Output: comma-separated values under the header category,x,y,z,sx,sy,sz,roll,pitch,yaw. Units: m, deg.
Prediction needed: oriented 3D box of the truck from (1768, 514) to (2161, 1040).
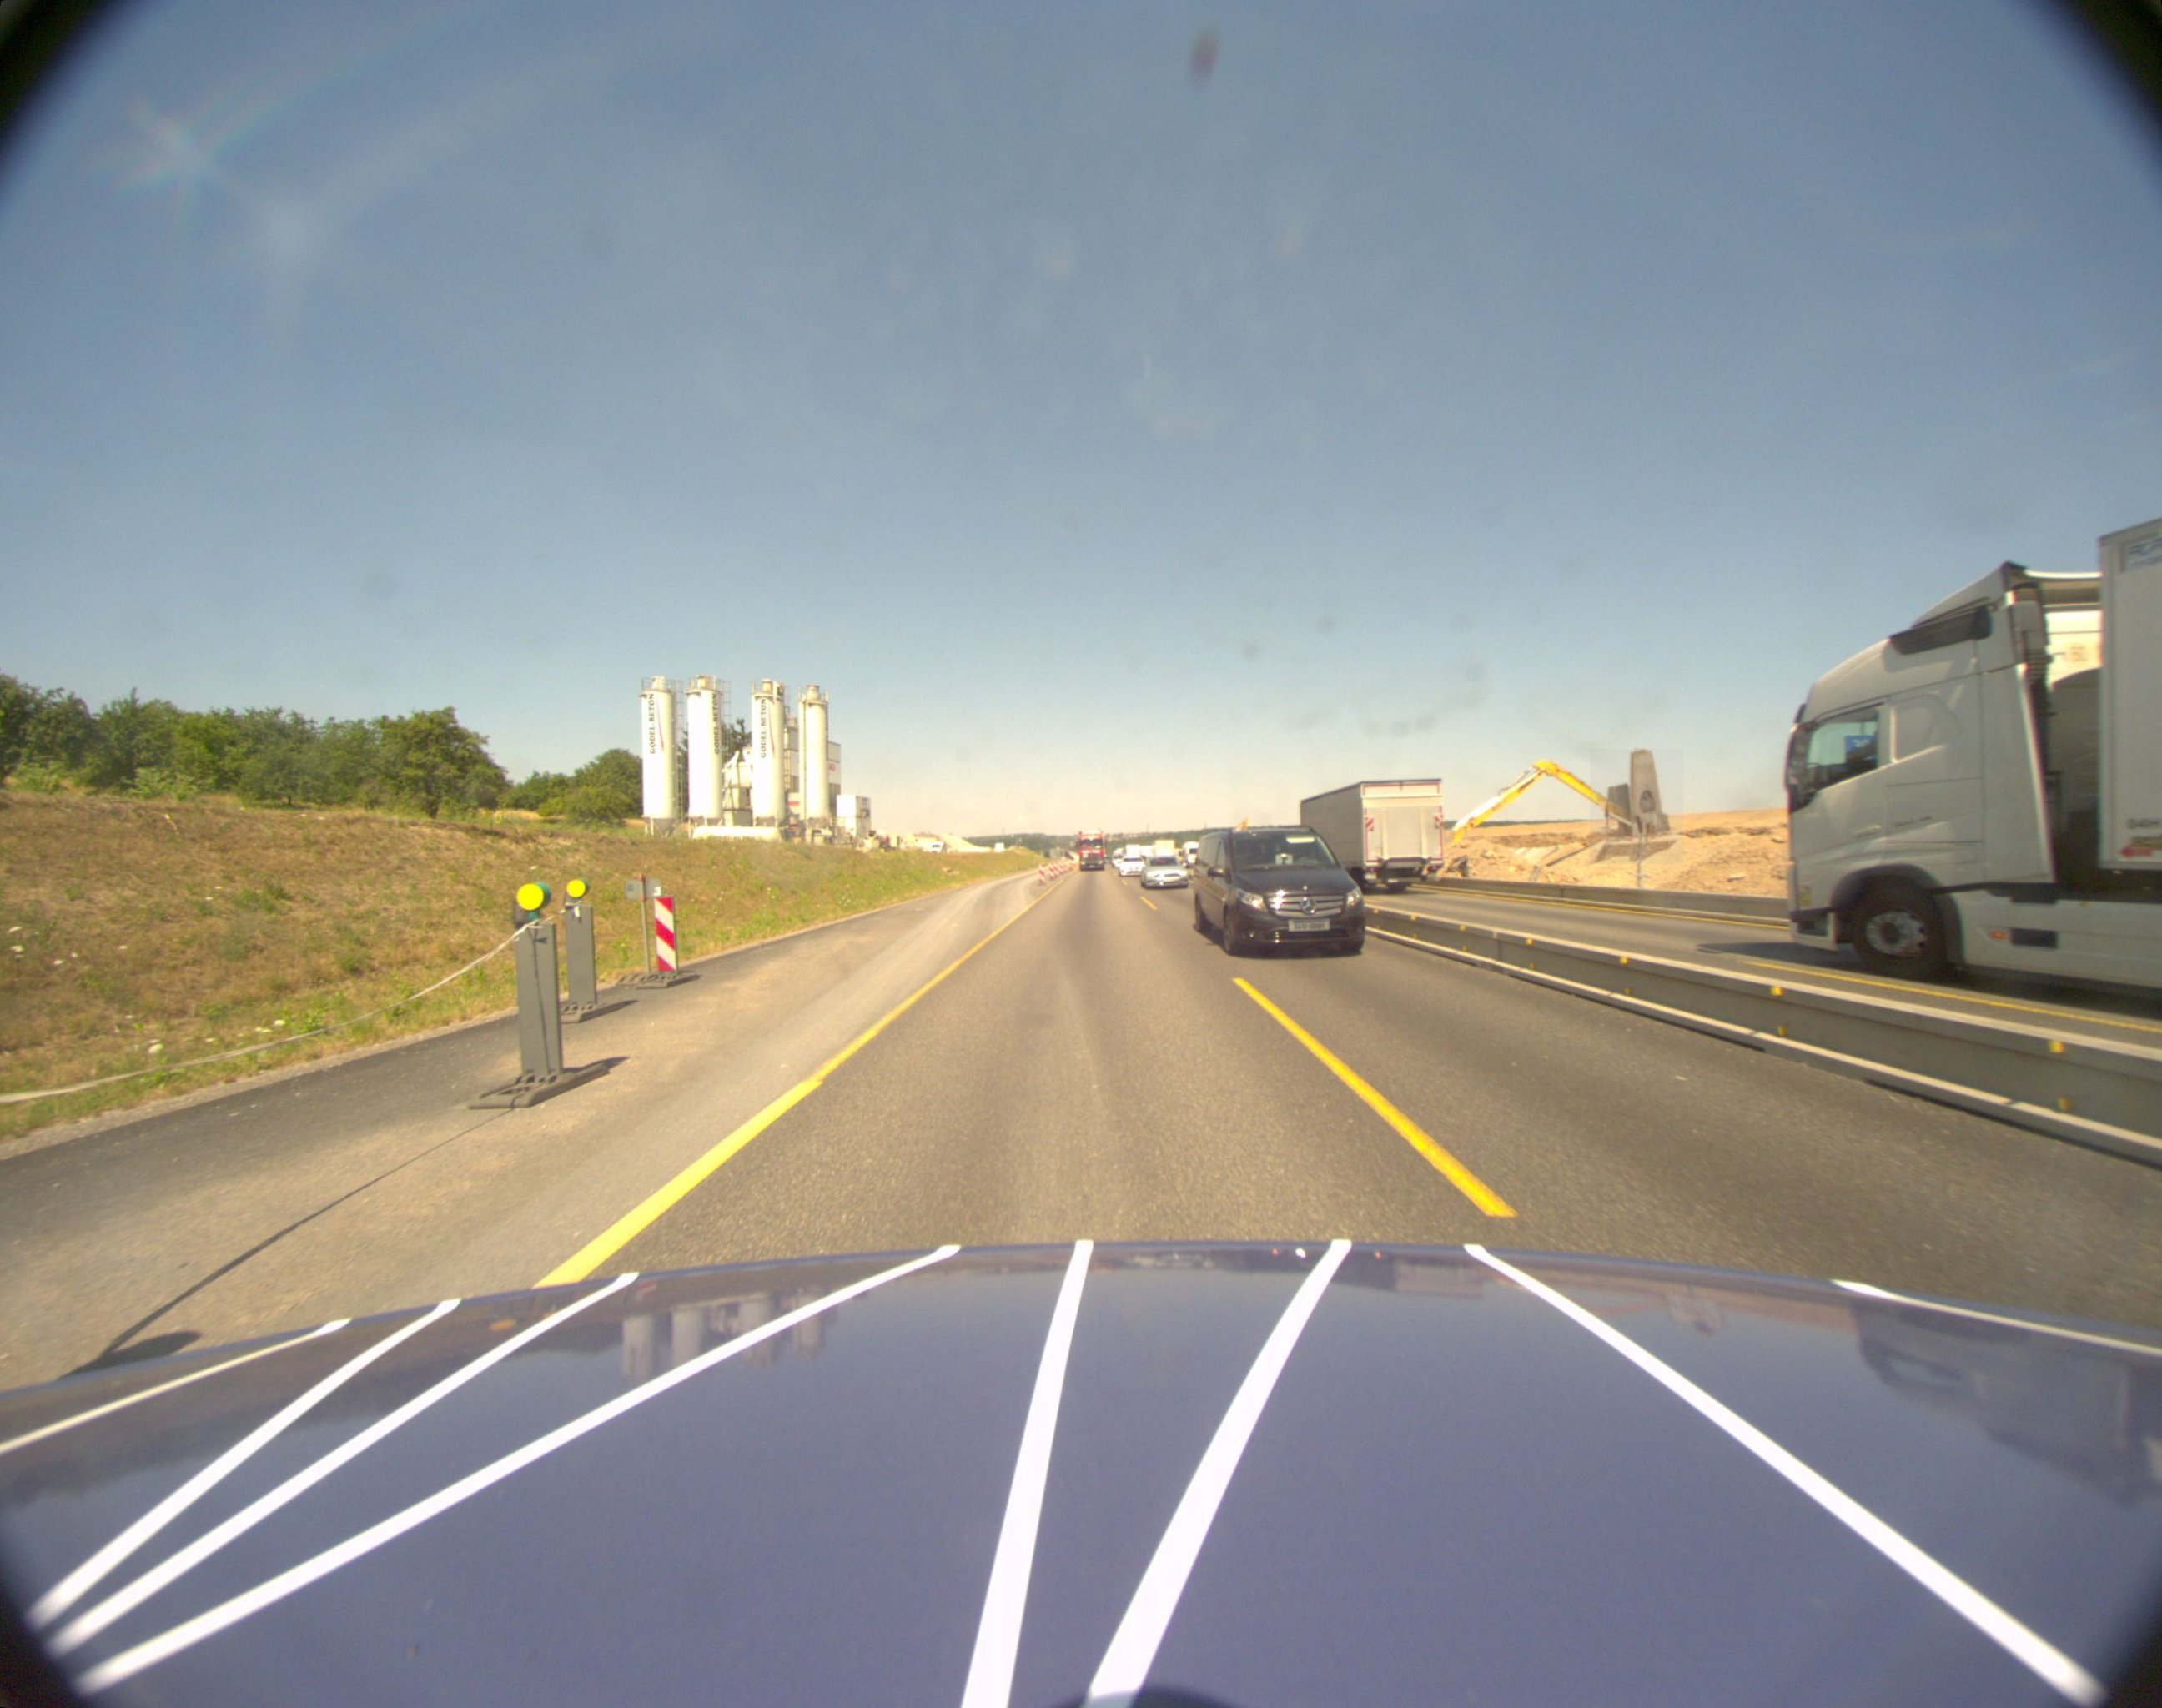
category,x,y,z,sx,sy,sz,roll,pitch,yaw
truck,9.670,-0.605,6.704,2.855,3.995,4.859,-1,1,1

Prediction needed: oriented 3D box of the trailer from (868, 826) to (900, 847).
category,x,y,z,sx,sy,sz,roll,pitch,yaw
trailer,-26.627,-2.329,102.864,1.998,2.629,6.937,-2,1,4

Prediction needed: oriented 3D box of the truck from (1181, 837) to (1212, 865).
category,x,y,z,sx,sy,sz,roll,pitch,yaw
truck,11.445,-0.218,75.759,2.103,2.554,6.355,-3,-1,0

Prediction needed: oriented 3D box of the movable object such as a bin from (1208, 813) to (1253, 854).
category,x,y,z,sx,sy,sz,roll,pitch,yaw
movable object such as a bin,27.364,-3.755,139.368,7.378,7.073,4.081,-2,1,1

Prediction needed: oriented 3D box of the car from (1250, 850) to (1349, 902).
category,x,y,z,sx,sy,sz,roll,pitch,yaw
car,6.906,0.622,24.504,1.862,1.434,4.500,-2,1,0

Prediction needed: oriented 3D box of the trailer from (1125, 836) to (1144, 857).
category,x,y,z,sx,sy,sz,roll,pitch,yaw
trailer,12.825,-1.770,182.011,2.993,4.569,12.879,-2,1,-2

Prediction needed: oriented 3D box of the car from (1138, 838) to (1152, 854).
category,x,y,z,sx,sy,sz,roll,pitch,yaw
car,11.932,-1.464,142.303,2.257,2.938,5.848,-2,1,1

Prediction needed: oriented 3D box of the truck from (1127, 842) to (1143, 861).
category,x,y,z,sx,sy,sz,roll,pitch,yaw
truck,9.135,-0.418,128.672,2.276,3.131,7.313,-2,1,2

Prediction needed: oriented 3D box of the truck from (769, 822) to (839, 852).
category,x,y,z,sx,sy,sz,roll,pitch,yaw
truck,-25.351,-1.555,69.499,5.317,2.530,2.897,-3,1,-35

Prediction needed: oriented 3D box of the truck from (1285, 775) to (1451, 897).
category,x,y,z,sx,sy,sz,roll,pitch,yaw
truck,10.192,-0.599,28.340,2.651,3.695,9.482,-2,1,1

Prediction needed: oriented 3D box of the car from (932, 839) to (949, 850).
category,x,y,z,sx,sy,sz,roll,pitch,yaw
car,-23.521,-1.514,127.477,1.990,1.752,3.601,-2,1,1

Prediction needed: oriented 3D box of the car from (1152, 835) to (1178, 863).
category,x,y,z,sx,sy,sz,roll,pitch,yaw
car,11.961,-0.721,108.688,2.915,3.718,8.091,-2,0,1

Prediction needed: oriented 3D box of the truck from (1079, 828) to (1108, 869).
category,x,y,z,sx,sy,sz,roll,pitch,yaw
truck,1.365,-0.571,77.706,2.537,3.798,9.481,-2,1,2

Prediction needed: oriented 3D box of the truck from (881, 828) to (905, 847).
category,x,y,z,sx,sy,sz,roll,pitch,yaw
truck,-26.351,-2.362,106.497,2.021,2.530,4.041,-2,1,4

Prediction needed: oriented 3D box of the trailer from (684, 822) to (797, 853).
category,x,y,z,sx,sy,sz,roll,pitch,yaw
trailer,-30.479,-1.474,68.192,8.919,2.592,2.463,-1,1,-2

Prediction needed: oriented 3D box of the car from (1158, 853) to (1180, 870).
category,x,y,z,sx,sy,sz,roll,pitch,yaw
car,7.995,0.662,69.431,1.631,1.476,4.053,-2,1,1

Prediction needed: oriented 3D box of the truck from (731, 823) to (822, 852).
category,x,y,z,sx,sy,sz,roll,pitch,yaw
truck,-33.583,-1.803,83.819,9.090,2.852,2.460,-2,1,7

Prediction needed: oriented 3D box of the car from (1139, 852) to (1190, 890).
category,x,y,z,sx,sy,sz,roll,pitch,yaw
car,3.624,0.699,33.482,1.804,1.499,4.101,-2,0,1

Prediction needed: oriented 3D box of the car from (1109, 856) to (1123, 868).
category,x,y,z,sx,sy,sz,roll,pitch,yaw
car,4.302,0.958,93.046,1.601,1.390,3.695,-2,1,2

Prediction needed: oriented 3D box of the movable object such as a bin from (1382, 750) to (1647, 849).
category,x,y,z,sx,sy,sz,roll,pitch,yaw
movable object such as a bin,33.205,-4.102,58.705,18.265,6.734,3.388,-2,1,1

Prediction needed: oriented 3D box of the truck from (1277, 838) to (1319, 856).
category,x,y,z,sx,sy,sz,roll,pitch,yaw
truck,26.742,-0.835,94.140,2.568,2.046,8.802,-2,1,0

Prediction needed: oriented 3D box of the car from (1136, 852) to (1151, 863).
category,x,y,z,sx,sy,sz,roll,pitch,yaw
car,8.865,0.515,107.650,1.792,1.473,4.561,-2,1,1

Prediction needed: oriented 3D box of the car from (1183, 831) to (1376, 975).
category,x,y,z,sx,sy,sz,roll,pitch,yaw
car,2.994,0.650,12.807,1.878,1.840,5.479,-2,0,1

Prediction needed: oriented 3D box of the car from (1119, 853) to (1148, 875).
category,x,y,z,sx,sy,sz,roll,pitch,yaw
car,3.635,0.657,53.058,1.875,1.390,4.030,-2,1,2
